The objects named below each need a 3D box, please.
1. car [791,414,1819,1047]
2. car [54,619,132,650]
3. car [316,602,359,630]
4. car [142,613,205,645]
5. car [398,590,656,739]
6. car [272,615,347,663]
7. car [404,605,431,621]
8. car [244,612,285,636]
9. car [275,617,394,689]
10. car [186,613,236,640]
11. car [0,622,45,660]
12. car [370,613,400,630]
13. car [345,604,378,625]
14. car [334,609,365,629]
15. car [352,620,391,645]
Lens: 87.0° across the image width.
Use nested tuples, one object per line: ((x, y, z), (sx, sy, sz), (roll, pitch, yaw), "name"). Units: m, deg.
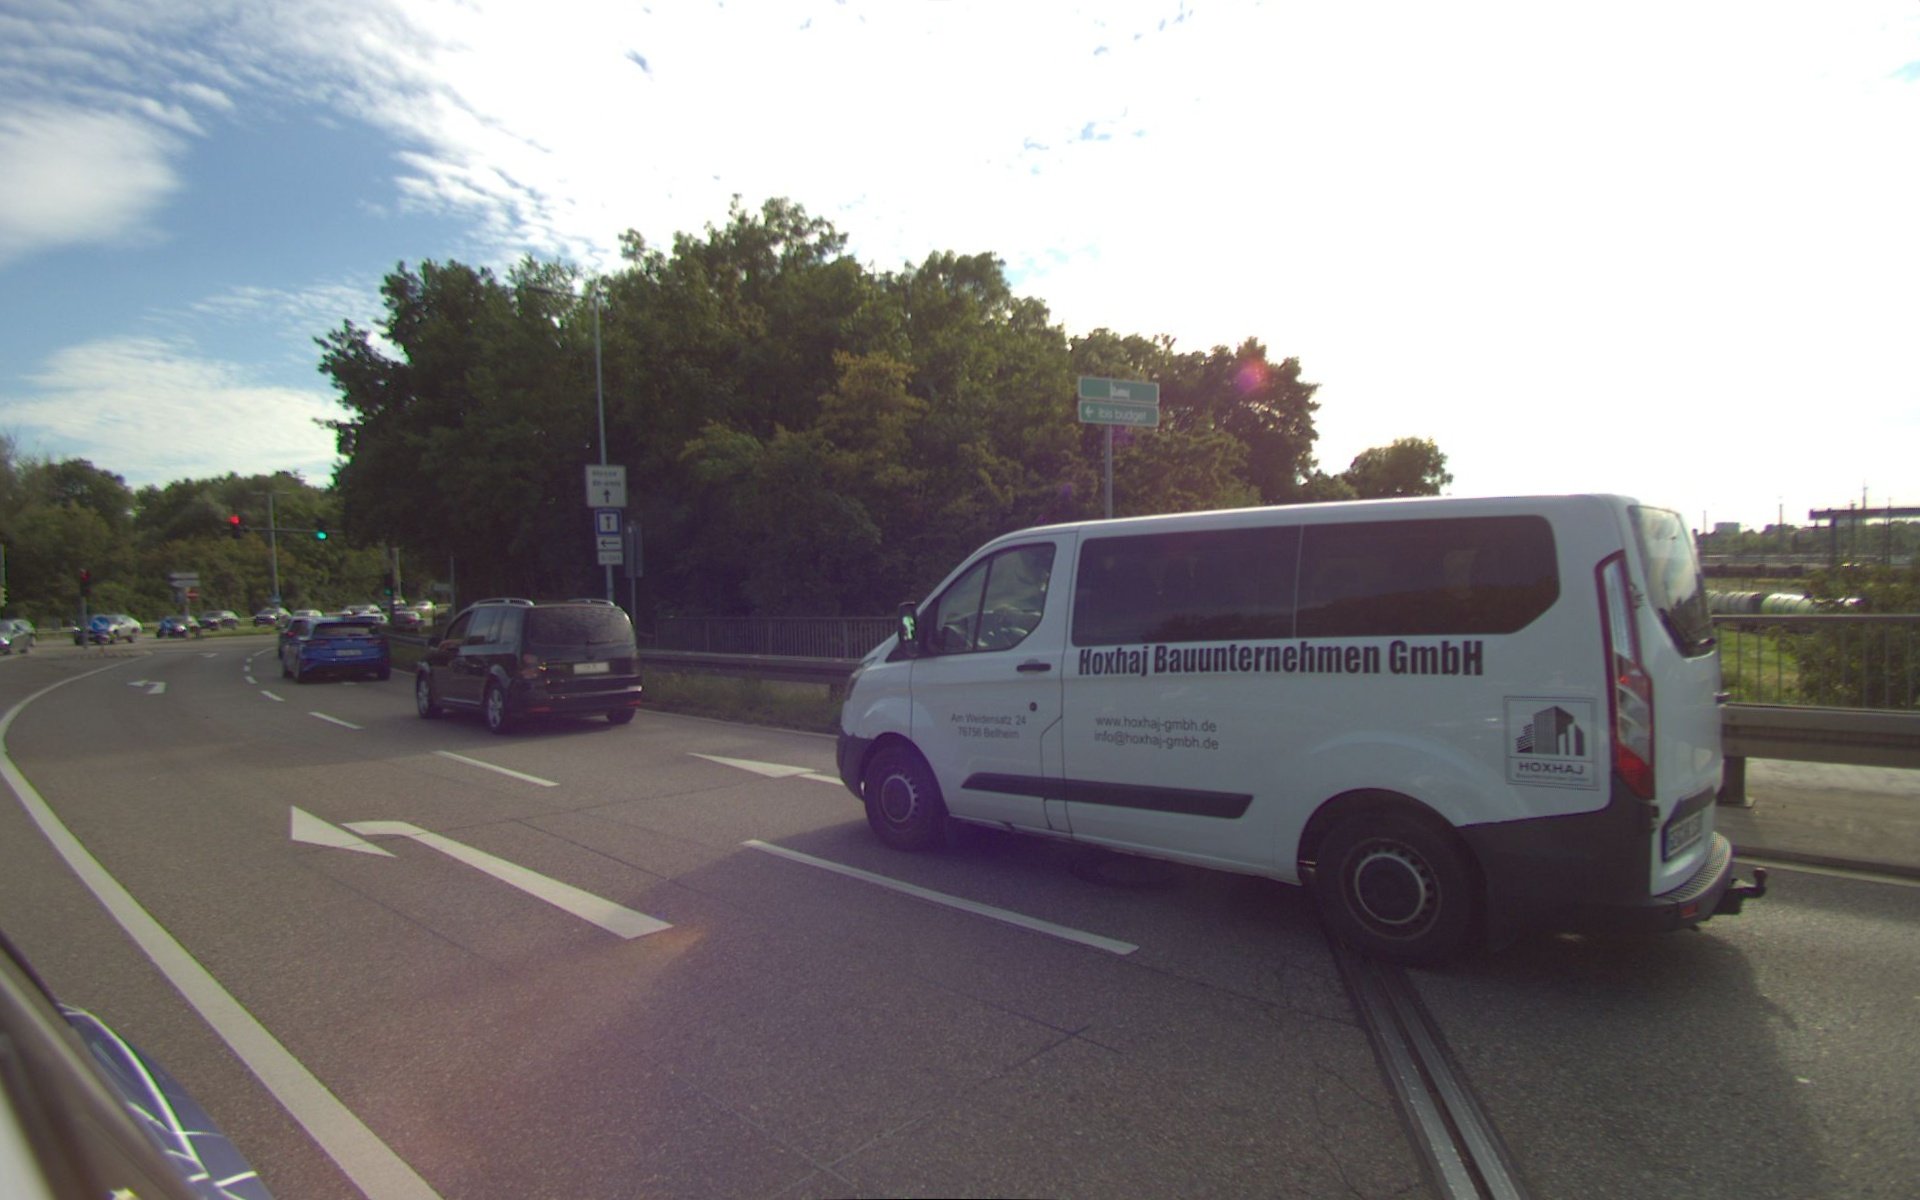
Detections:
((1.392, 0.449, 5.632), (5.048, 1.979, 1.963), (-2, -1, 44), "car")
((-49.397, 1.921, 57.781), (1.965, 1.612, 4.295), (-1, 0, -19), "car")
((-32.992, 0.854, 53.688), (1.602, 1.376, 3.786), (-1, -1, -26), "car")
((-53.374, 1.908, 68.739), (1.966, 2.029, 4.285), (-1, 0, -17), "car")
((-5.925, 0.754, 13.540), (1.726, 1.667, 4.456), (0, -1, -44), "car")
((-22.724, 1.317, 35.289), (1.791, 1.532, 4.774), (-1, -1, -38), "car")
((-68.809, 1.626, 128.342), (1.967, 2.029, 4.010), (-1, 0, -12), "car")
((-62.997, 2.162, 91.741), (1.966, 2.029, 4.012), (-1, 0, -17), "car")
((-14.588, 1.161, 23.501), (1.868, 1.458, 4.369), (-1, -1, -38), "car")
((-59.933, 2.115, 81.037), (1.966, 2.029, 4.012), (-1, 0, -17), "car")
((-41.119, 1.748, 43.444), (1.613, 1.564, 3.753), (-1, -1, -23), "car")
((-67.172, 2.461, 118.260), (1.861, 1.875, 4.009), (-1, 0, -10), "car")
((-61.389, 1.486, 103.832), (1.966, 2.029, 4.012), (-1, 0, -16), "car")
((-65.728, 2.011, 108.999), (1.966, 2.029, 4.012), (-1, 0, -17), "car")
((-37.789, 2.044, 65.073), (1.788, 1.532, 4.842), (-1, -1, -26), "car")
